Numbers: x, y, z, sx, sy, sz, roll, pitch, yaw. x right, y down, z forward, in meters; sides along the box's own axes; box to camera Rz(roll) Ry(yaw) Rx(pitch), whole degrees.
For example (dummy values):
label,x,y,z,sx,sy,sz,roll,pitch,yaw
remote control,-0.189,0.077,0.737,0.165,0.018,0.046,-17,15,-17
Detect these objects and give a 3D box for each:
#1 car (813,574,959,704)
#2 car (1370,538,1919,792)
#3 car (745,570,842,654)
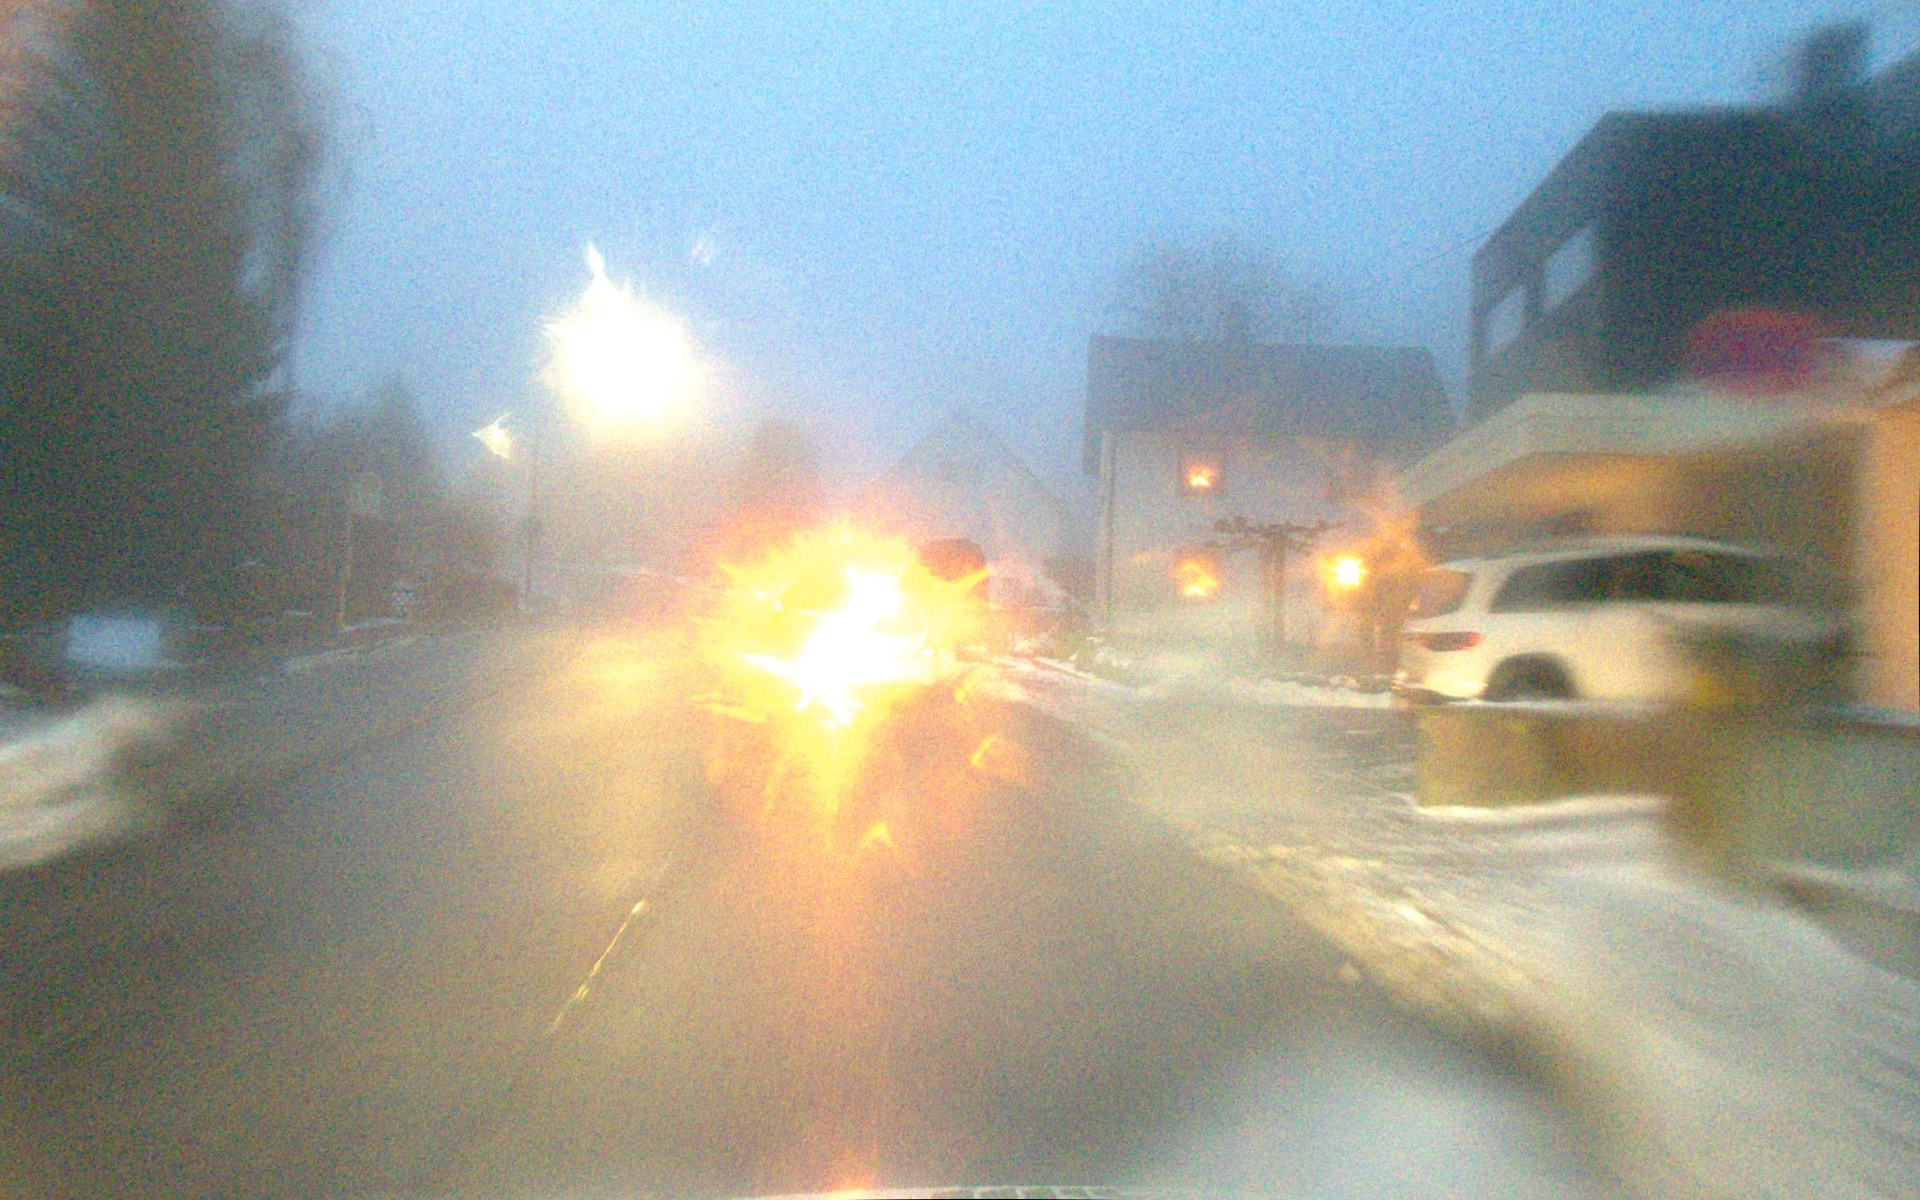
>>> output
label,x,y,z,sx,sy,sz,roll,pitch,yaw
car,-1.059,0.513,23.139,1.860,1.637,3.997,1,0,-3
car,5.630,0.496,13.595,4.117,1.891,1.912,1,-1,4
car,-3.802,0.271,37.244,1.957,1.767,3.870,1,0,-9
